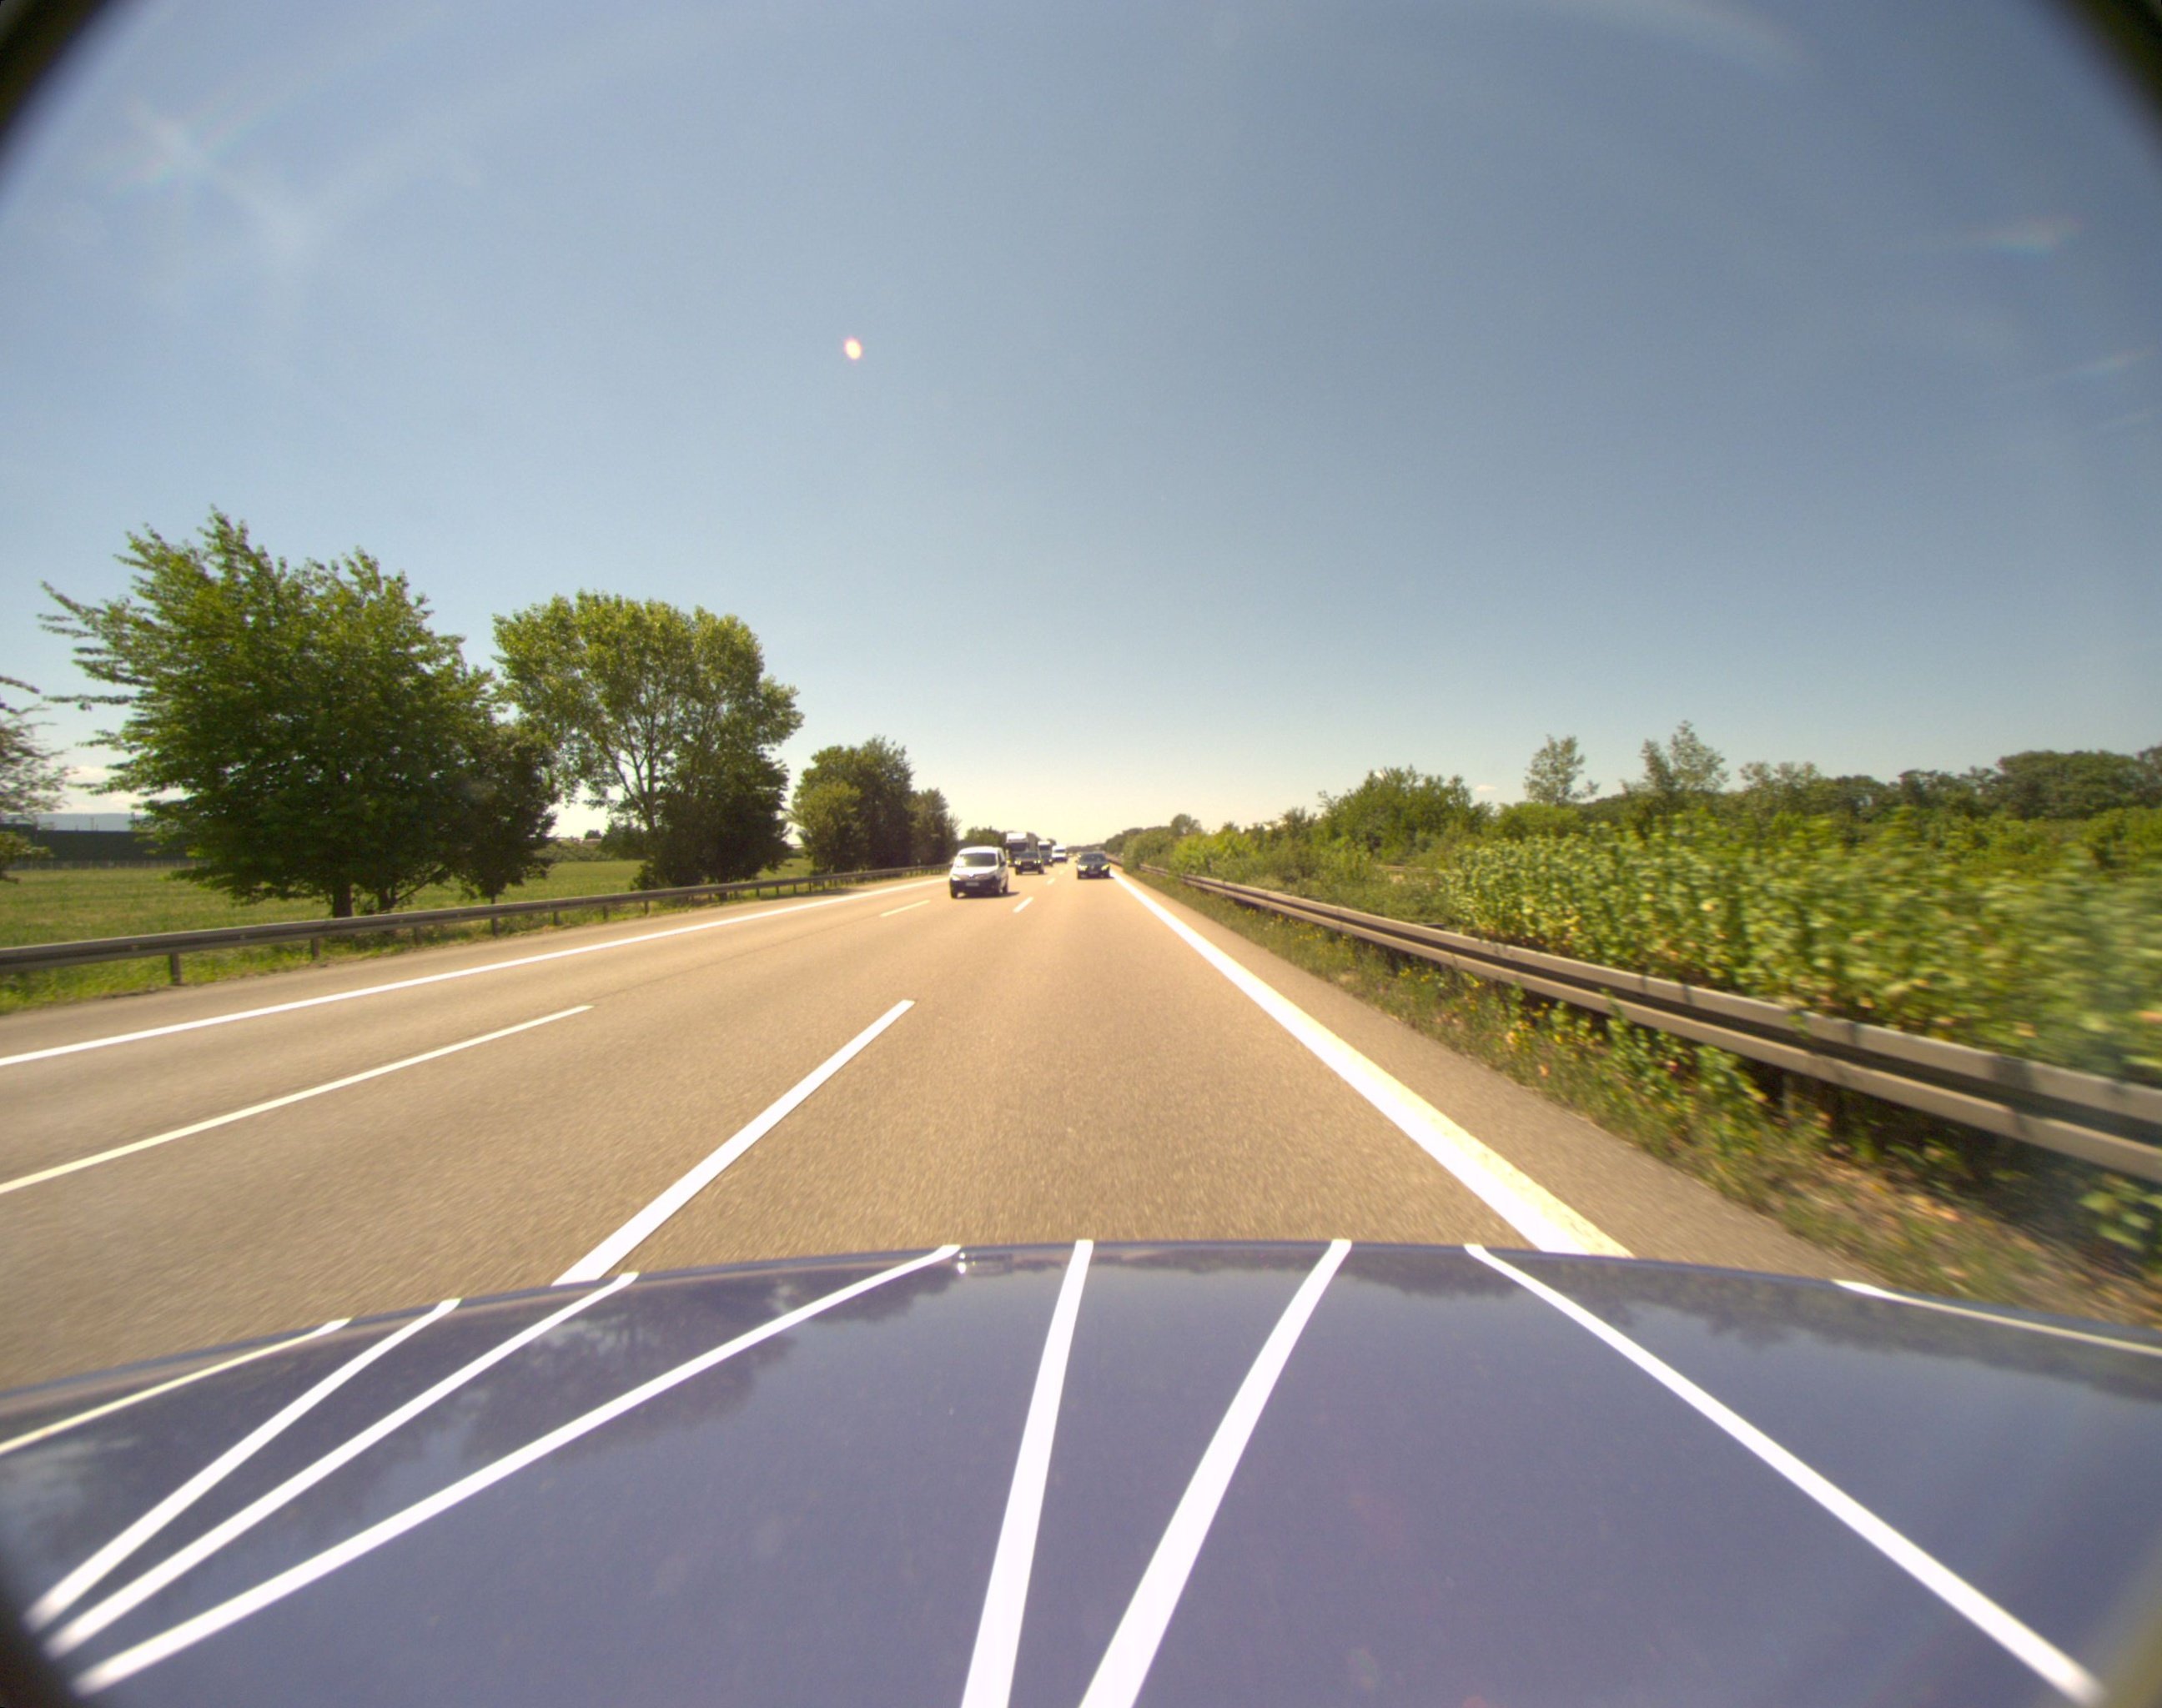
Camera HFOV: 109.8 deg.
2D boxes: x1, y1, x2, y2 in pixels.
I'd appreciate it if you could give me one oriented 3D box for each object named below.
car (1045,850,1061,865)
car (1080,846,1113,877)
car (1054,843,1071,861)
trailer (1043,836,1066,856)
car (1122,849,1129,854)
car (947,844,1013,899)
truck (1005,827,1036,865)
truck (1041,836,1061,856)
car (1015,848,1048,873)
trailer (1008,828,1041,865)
[{"bbox_3d":[-3.044,0.383,82.615,1.692,1.465,3.432,-2,0,-1],"label":"car"},{"bbox_3d":[0.859,0.404,42.968,1.690,1.646,3.462,-2,0,1],"label":"car"},{"bbox_3d":[-2.599,-0.280,107.032,2.159,2.494,5.945,-2,0,-1],"label":"car"},{"bbox_3d":[-5.417,-1.594,158.234,2.698,3.943,13.967,-2,0,6],"label":"trailer"},{"bbox_3d":[14.005,-0.830,239.119,1.873,1.680,4.626,1,0,0],"label":"car"},{"bbox_3d":[-3.733,0.603,28.778,1.858,1.852,4.701,-2,0,-1],"label":"car"},{"bbox_3d":[-7.170,-0.894,91.265,2.817,4.279,7.193,-2,0,1],"label":"truck"},{"bbox_3d":[-6.036,-1.568,152.425,2.698,3.943,7.706,-2,0,6],"label":"truck"},{"bbox_3d":[-3.577,0.452,55.626,1.871,1.665,4.746,-2,0,2],"label":"car"},{"bbox_3d":[-7.082,-0.929,97.466,2.817,4.279,14.253,-2,0,1],"label":"trailer"}]
